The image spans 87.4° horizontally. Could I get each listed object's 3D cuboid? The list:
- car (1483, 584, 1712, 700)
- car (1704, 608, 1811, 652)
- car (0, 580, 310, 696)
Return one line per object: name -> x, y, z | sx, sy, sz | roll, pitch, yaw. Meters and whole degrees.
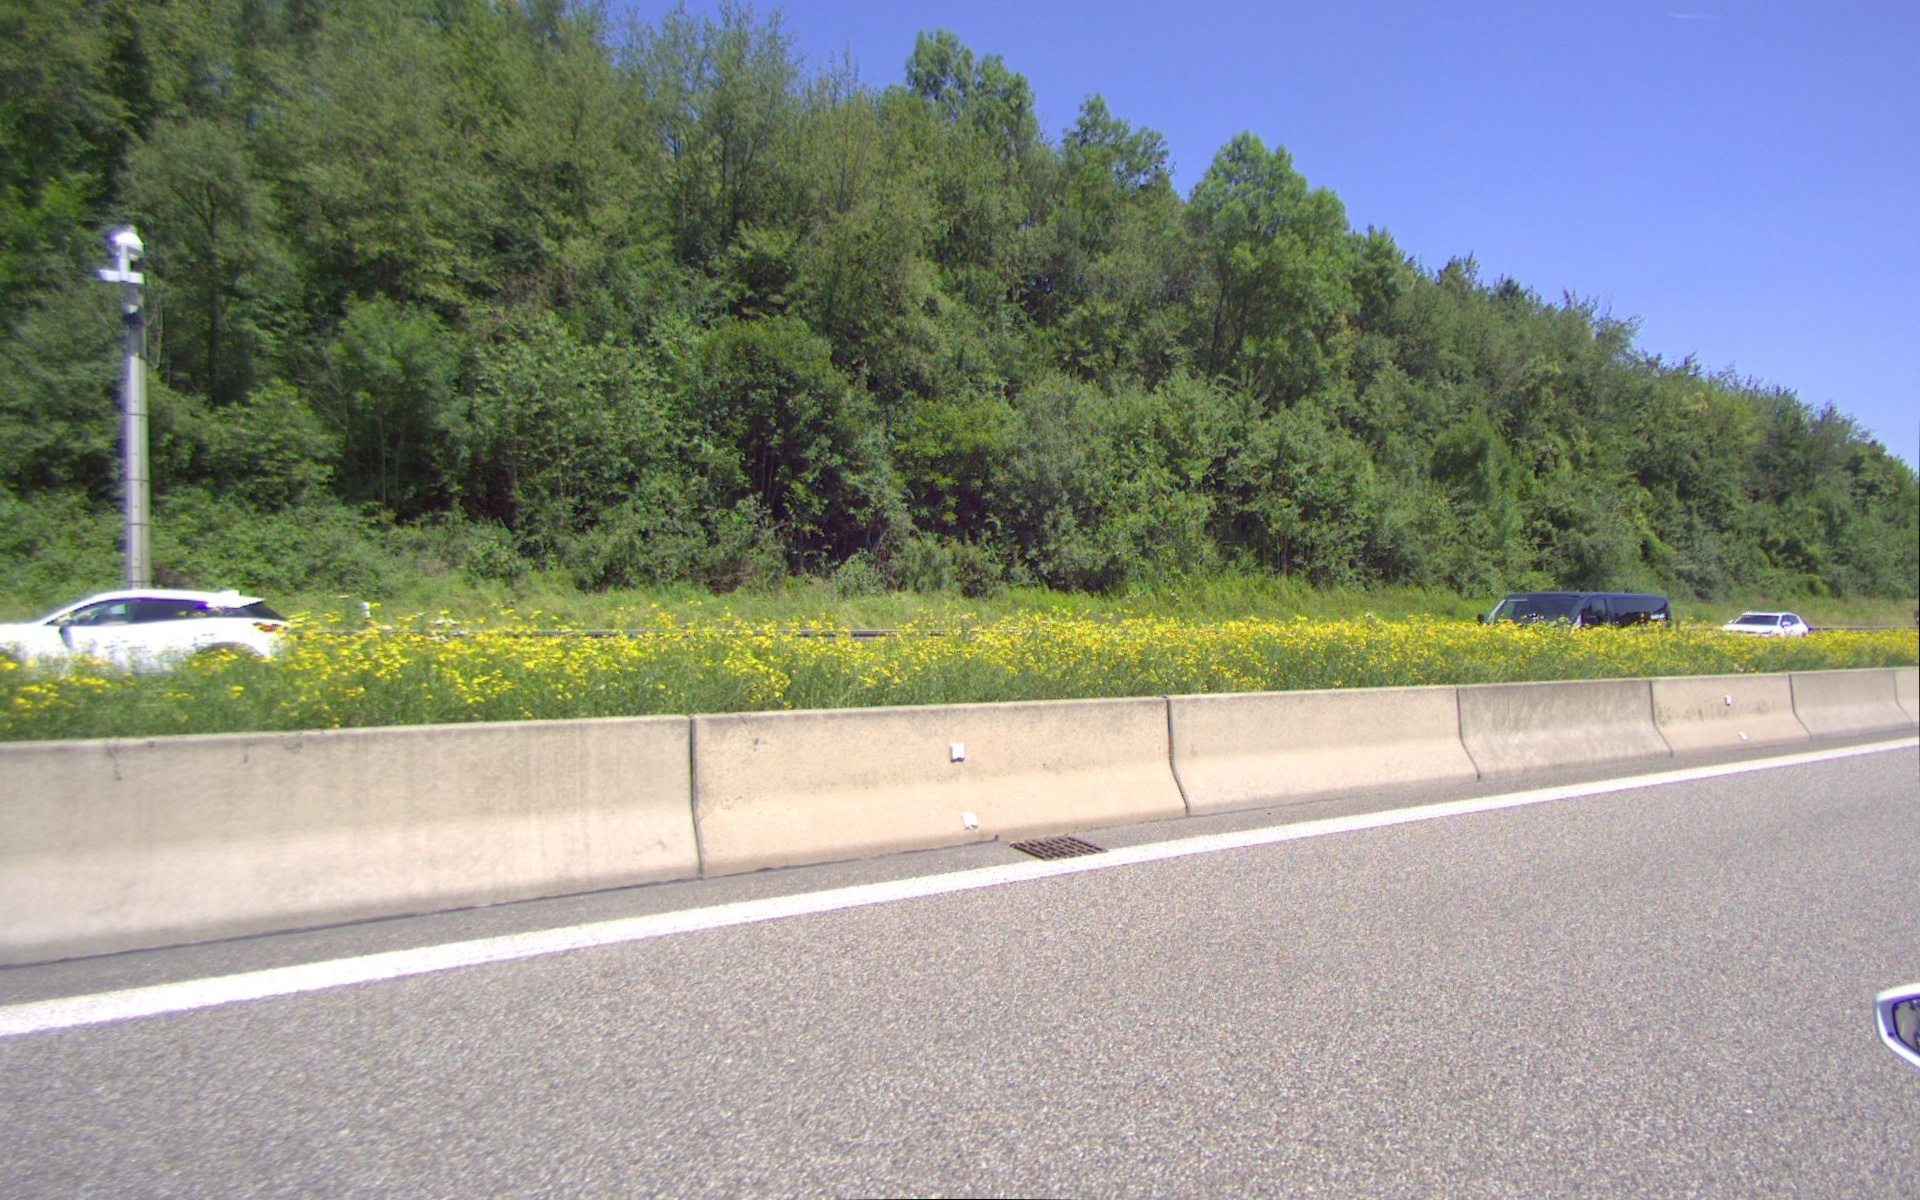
car -> 12.493, 0.801, 19.642 | 4.369, 2.040, 1.984 | 2, -1, -30
car -> 31.884, 1.174, 40.117 | 4.434, 1.638, 1.983 | 1, 0, -32
car -> -11.631, 0.507, 14.060 | 4.124, 1.461, 1.983 | 2, -1, -31
